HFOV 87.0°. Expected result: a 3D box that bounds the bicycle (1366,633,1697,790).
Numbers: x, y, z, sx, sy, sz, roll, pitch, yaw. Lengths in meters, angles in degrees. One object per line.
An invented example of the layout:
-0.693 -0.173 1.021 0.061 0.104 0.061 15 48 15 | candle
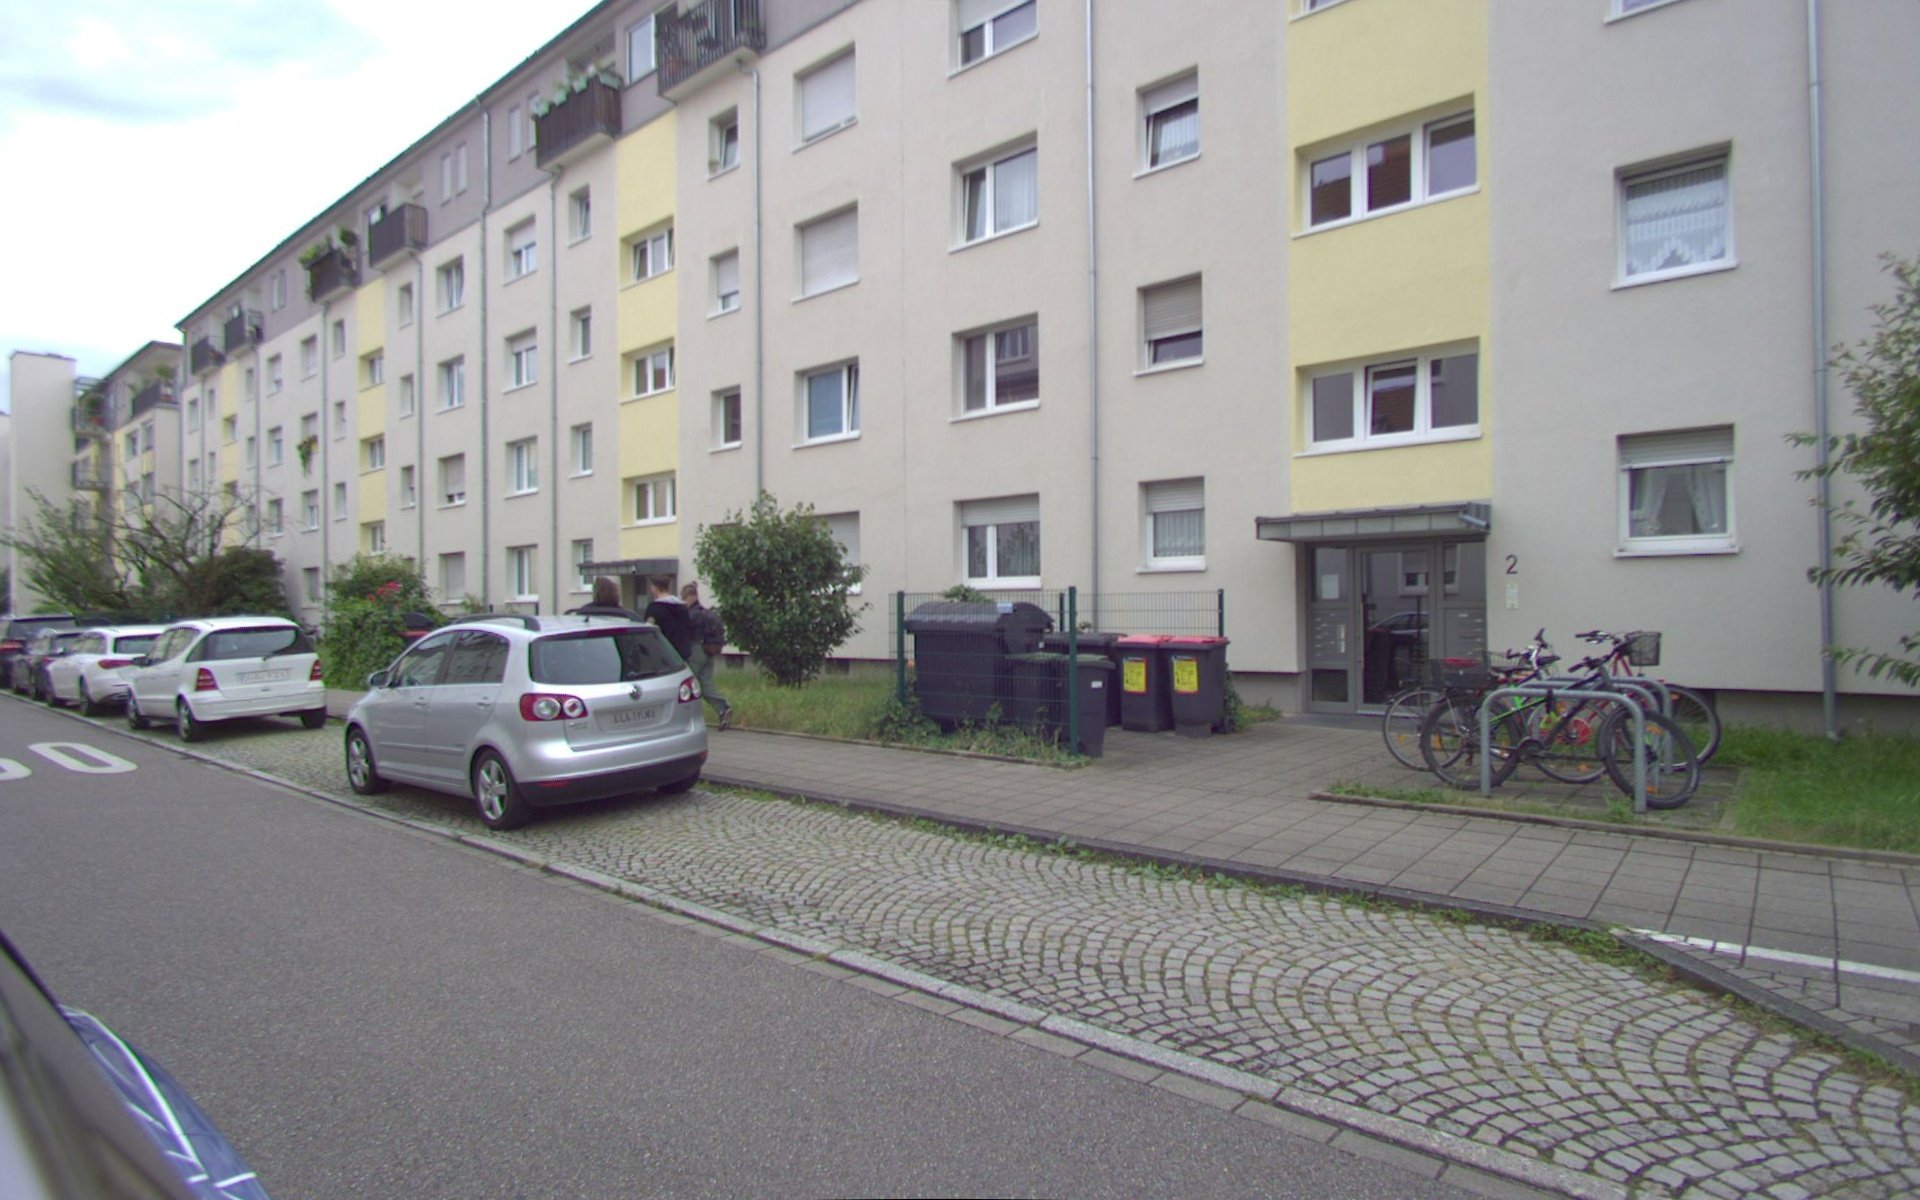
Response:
4.446 0.811 8.016 2.174 1.079 0.651 -2 -2 41 | bicycle

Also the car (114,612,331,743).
-10.718 1.028 14.633 3.723 1.651 1.668 -2 -1 39 | car

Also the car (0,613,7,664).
-36.445 1.438 37.113 3.537 1.820 1.686 -2 -2 38 | car

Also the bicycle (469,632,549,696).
-7.676 1.064 17.181 1.877 1.032 0.483 -2 -1 41 | bicycle

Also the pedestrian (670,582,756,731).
-2.888 0.640 11.830 0.802 1.669 0.608 -2 -1 40 | pedestrian

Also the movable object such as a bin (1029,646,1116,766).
1.038 0.958 9.348 0.597 1.041 0.531 -2 -2 39 | movable object such as a bin

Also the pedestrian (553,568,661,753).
-3.792 0.618 10.866 0.973 1.877 0.633 -2 0 40 | pedestrian

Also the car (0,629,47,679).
-28.574 1.595 30.071 3.537 1.407 1.556 -2 -2 38 | car

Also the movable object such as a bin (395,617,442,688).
-10.910 1.035 20.389 0.586 1.378 0.651 0 0 36 | movable object such as a bin

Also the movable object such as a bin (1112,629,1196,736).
2.175 0.902 11.330 0.597 1.125 0.834 -2 -2 38 | movable object such as a bin

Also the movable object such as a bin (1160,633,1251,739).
2.642 0.900 10.869 0.633 1.059 0.855 -2 -2 39 | movable object such as a bin

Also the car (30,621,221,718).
-15.055 1.182 18.171 4.680 1.521 1.702 -2 -2 38 | car

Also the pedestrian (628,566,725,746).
-3.089 0.592 11.030 0.762 1.868 0.699 -2 -1 40 | pedestrian

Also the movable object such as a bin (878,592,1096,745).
0.291 0.660 10.611 1.670 1.432 1.573 -2 -1 39 | movable object such as a bin

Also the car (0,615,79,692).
-23.613 1.316 25.402 4.448 1.793 1.555 -2 -2 40 | car

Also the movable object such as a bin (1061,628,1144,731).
1.658 0.902 11.746 0.597 1.125 0.834 -2 -2 38 | movable object such as a bin

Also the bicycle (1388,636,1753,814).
4.251 0.806 7.185 2.121 1.076 0.650 -2 -2 41 | bicycle

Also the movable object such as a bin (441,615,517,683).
-10.379 1.023 21.826 1.187 1.385 1.047 0 0 35 | movable object such as a bin

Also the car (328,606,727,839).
-3.887 0.881 8.786 3.913 1.562 1.637 -2 -1 41 | car

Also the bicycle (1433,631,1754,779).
5.203 0.809 8.433 2.174 1.079 0.651 -2 -2 41 | bicycle

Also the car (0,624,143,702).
-18.999 1.262 21.527 4.480 1.464 1.707 -1 -1 40 | car

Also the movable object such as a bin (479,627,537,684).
-9.481 1.154 21.234 0.786 1.117 0.861 0 0 36 | movable object such as a bin
